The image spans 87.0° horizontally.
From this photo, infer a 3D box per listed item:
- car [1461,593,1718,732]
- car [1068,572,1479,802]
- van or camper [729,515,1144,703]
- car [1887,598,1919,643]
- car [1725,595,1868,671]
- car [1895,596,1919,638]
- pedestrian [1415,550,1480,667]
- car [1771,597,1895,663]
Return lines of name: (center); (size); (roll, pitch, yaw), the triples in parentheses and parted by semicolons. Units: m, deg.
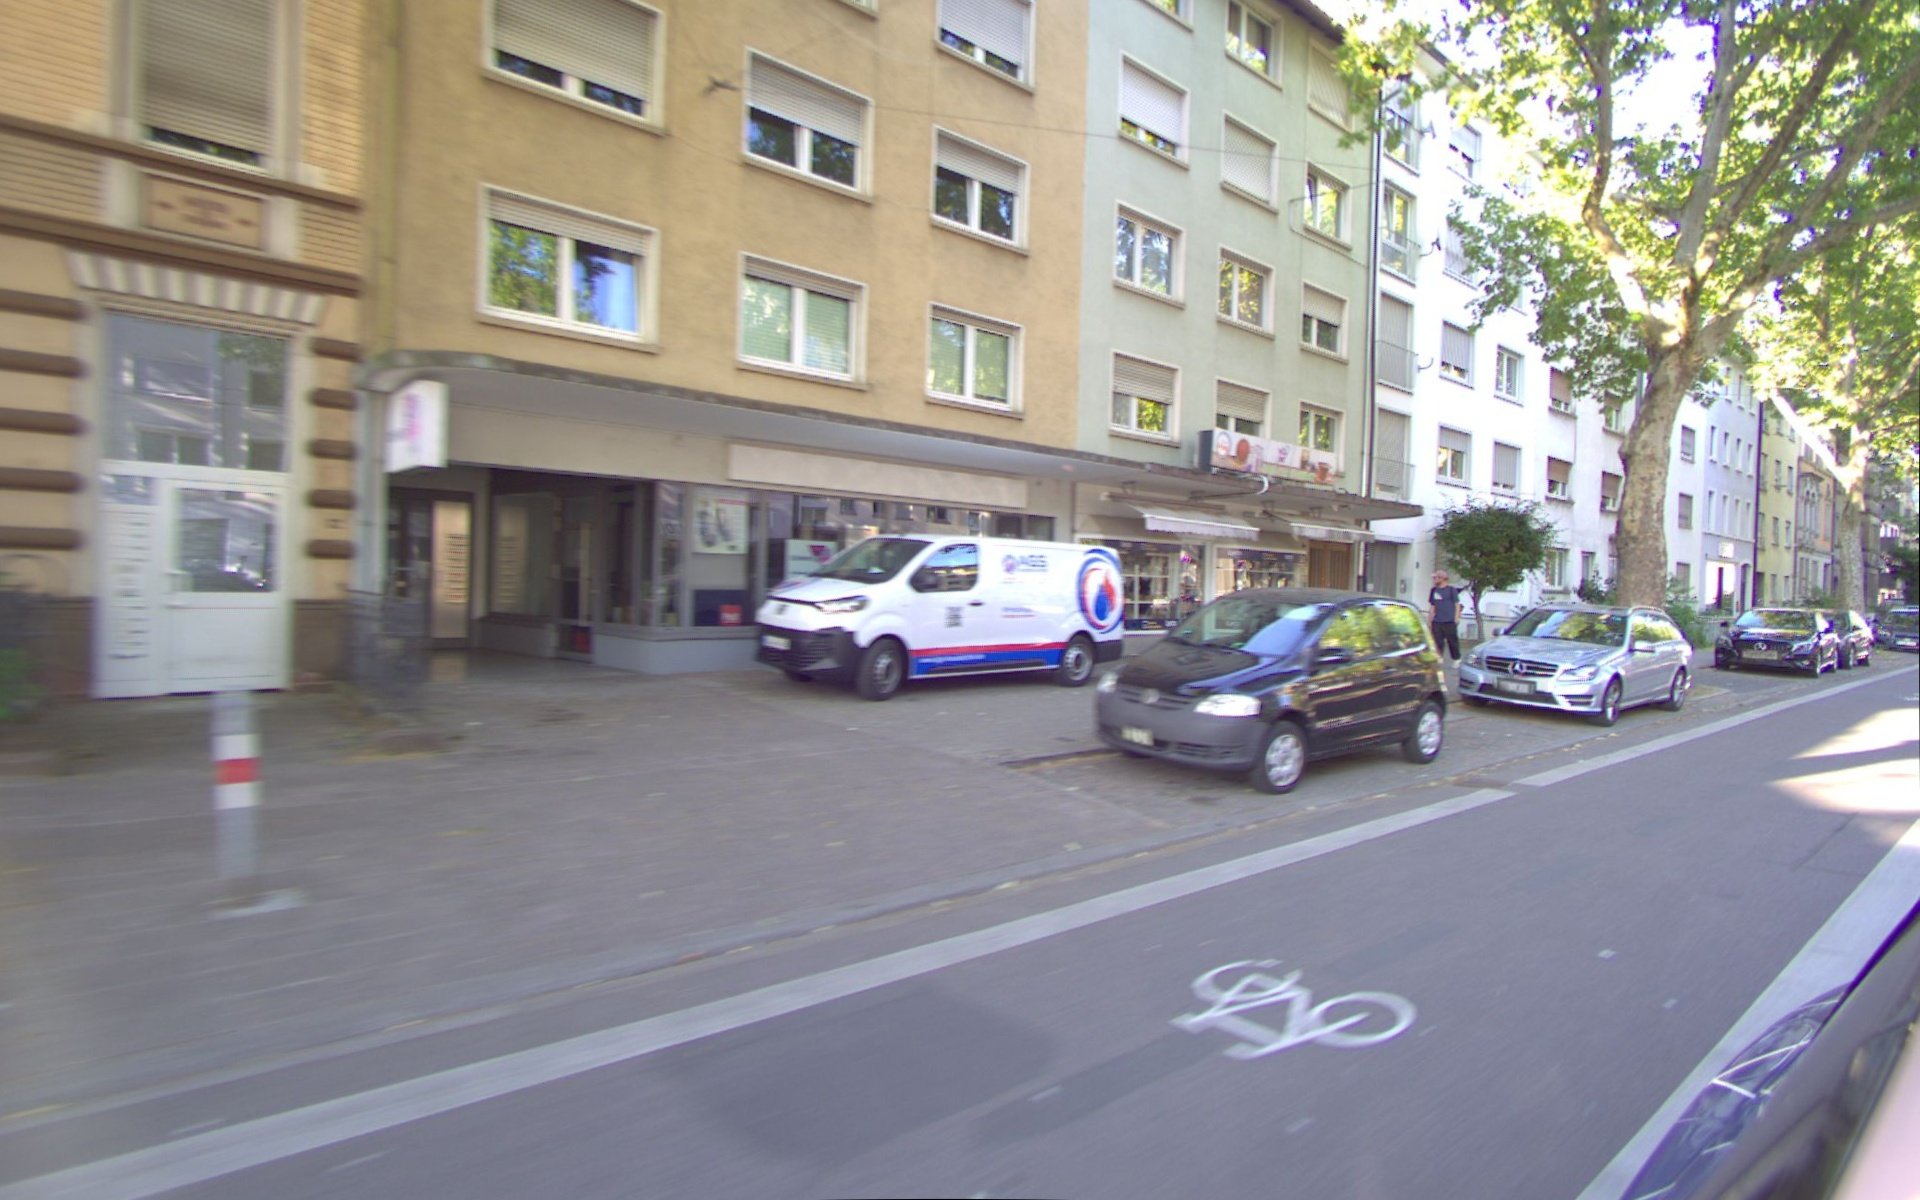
car: (8.742, 0.725, 13.868); (4.694, 1.562, 1.698); (0, 2, -42)
car: (2.914, 0.593, 8.965); (3.931, 1.564, 1.657); (0, 2, -42)
van or camper: (-0.094, 0.063, 12.966); (5.298, 1.946, 1.945); (0, 2, -42)
car: (34.011, 0.706, 35.736); (1.744, 1.482, 3.961); (2, 2, 44)
car: (18.539, 0.657, 22.368); (4.288, 1.432, 1.712); (0, 4, -41)
car: (38.913, 0.684, 40.252); (4.583, 1.585, 1.998); (0, 4, -41)
pedestrian: (8.797, 0.144, 18.248); (0.994, 2.039, 0.684); (1, 1, -42)
car: (22.115, 0.688, 25.582); (4.288, 1.432, 1.712); (0, 4, -41)
